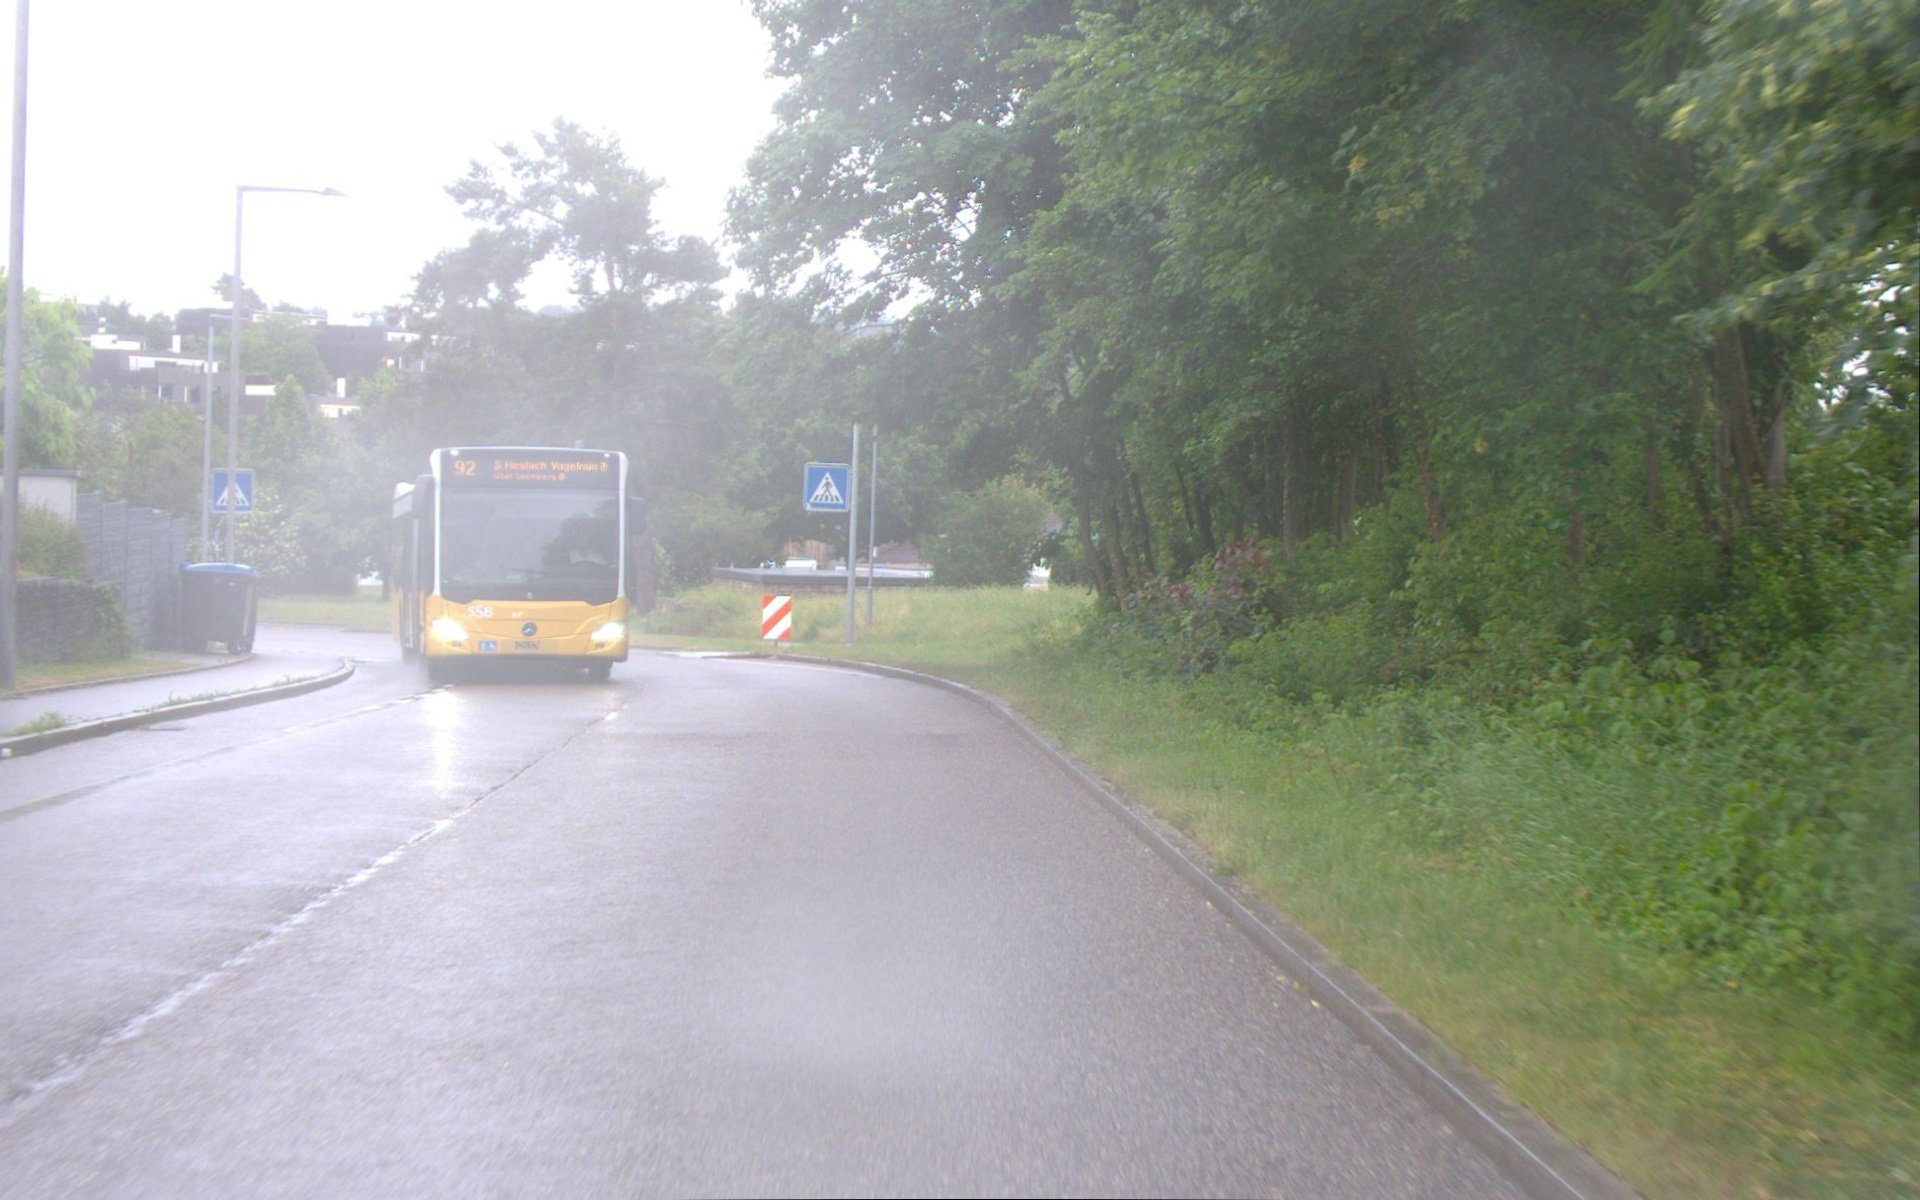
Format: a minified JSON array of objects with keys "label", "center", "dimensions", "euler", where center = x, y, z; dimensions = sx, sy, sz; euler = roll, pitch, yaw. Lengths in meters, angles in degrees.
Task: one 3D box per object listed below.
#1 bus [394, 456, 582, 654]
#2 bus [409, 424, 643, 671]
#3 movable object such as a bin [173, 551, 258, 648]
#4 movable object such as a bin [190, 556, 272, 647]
[{"label":"bus","center":[-7.943,-0.720,57.191],"dimensions":[2.639,3.022,7.668],"euler":[1,0,-11]},{"label":"bus","center":[-6.244,-0.674,48.081],"dimensions":[2.639,3.057,10.858],"euler":[0,0,-10]},{"label":"movable object such as a bin","center":[-10.985,-0.012,50.784],"dimensions":[1.131,1.335,1.399],"euler":[4,0,-12]},{"label":"movable object such as a bin","center":[-11.175,0.011,52.739],"dimensions":[1.131,1.297,1.399],"euler":[4,0,-12]}]
